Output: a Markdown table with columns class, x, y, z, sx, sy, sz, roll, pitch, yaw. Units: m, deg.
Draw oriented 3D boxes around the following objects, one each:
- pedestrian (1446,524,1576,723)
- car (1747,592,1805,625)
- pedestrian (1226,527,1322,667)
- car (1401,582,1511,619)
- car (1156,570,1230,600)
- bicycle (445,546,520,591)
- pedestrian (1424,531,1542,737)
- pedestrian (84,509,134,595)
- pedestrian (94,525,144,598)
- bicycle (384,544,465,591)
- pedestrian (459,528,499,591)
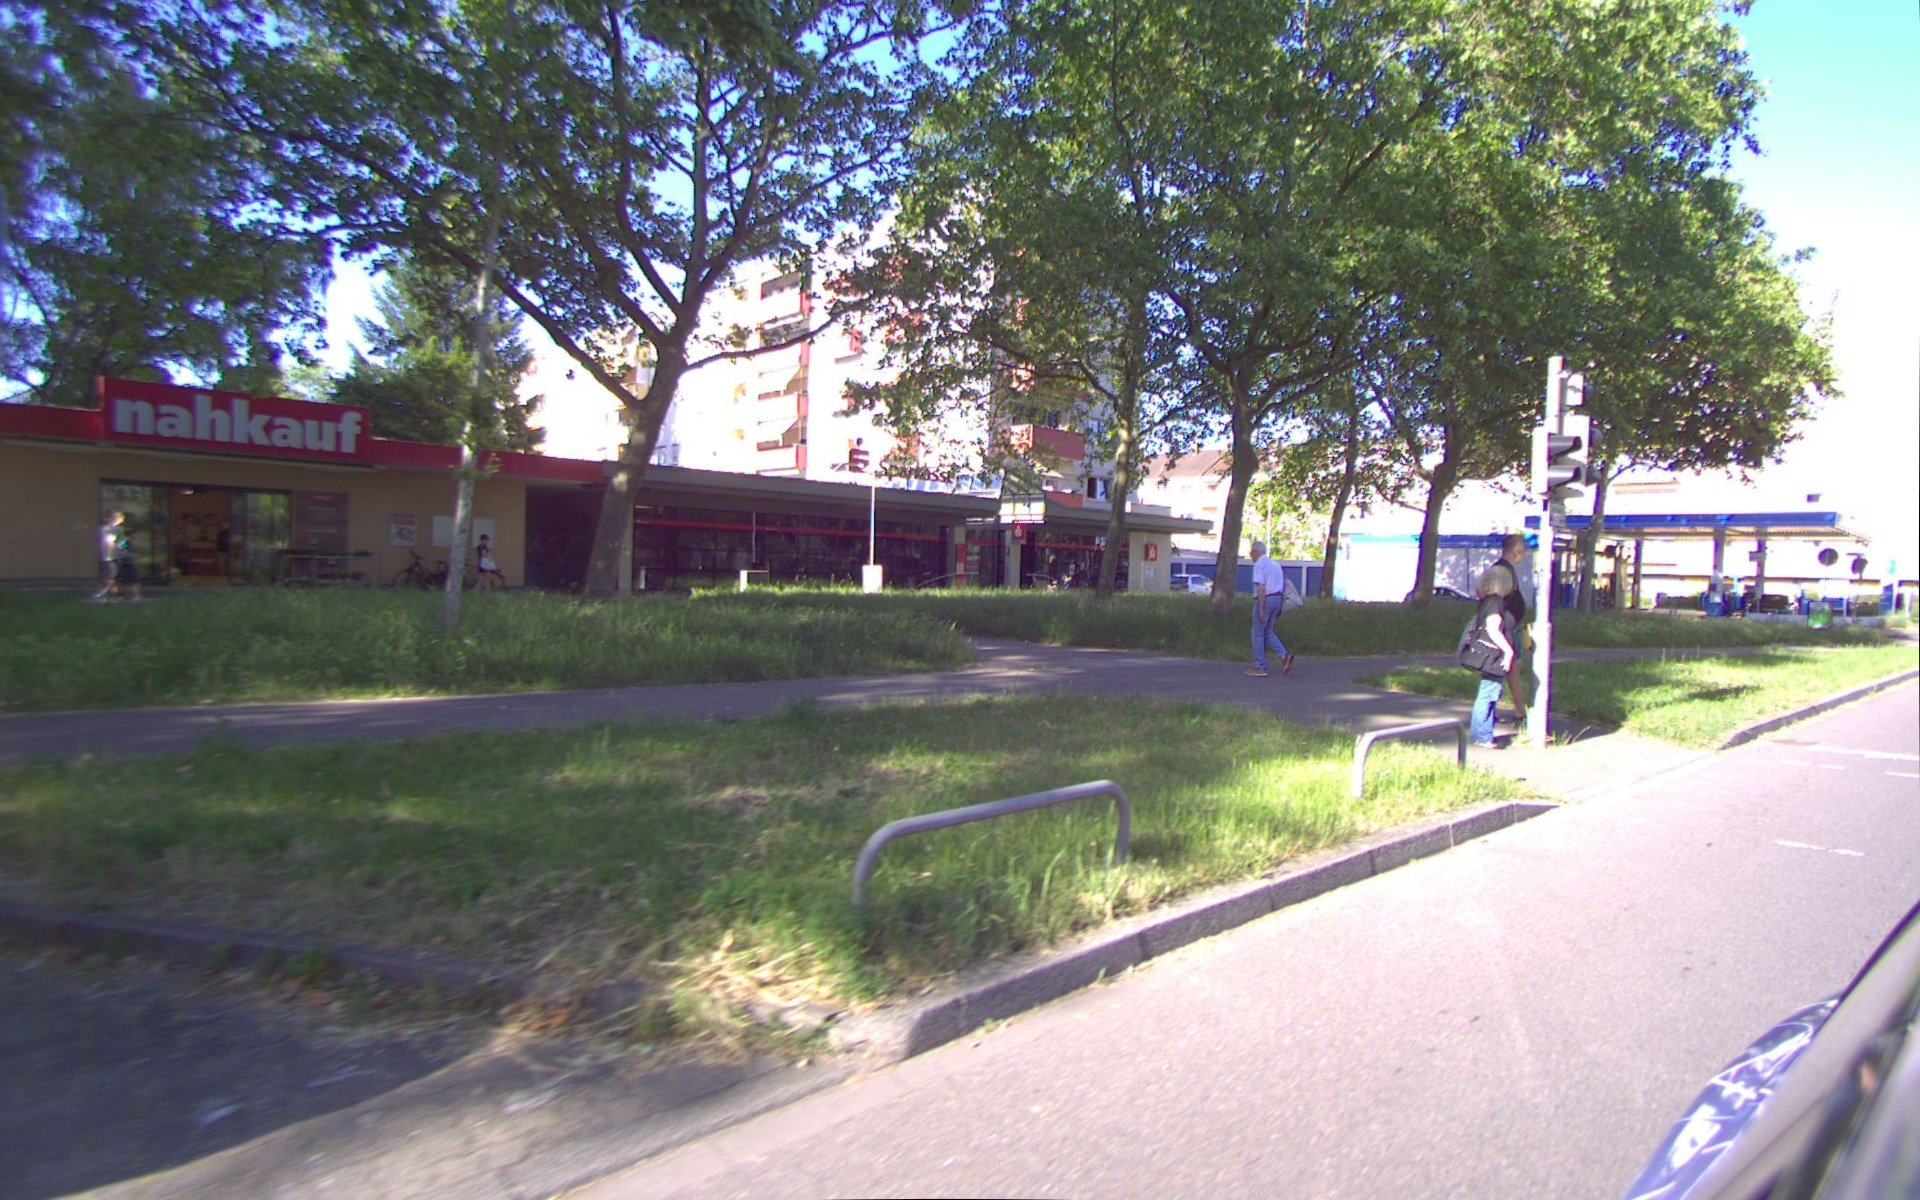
| class | x | y | z | sx | sy | sz | roll | pitch | yaw |
| --- | --- | --- | --- | --- | --- | --- | --- | --- | --- |
| pedestrian | 5.619 | 0.215 | 10.329 | 0.911 | 1.908 | 0.800 | 1 | 1 | -36 |
| car | 40.616 | 0.394 | 50.349 | 3.939 | 1.481 | 1.722 | 0 | 3 | -44 |
| pedestrian | 4.080 | -0.059 | 13.155 | 0.816 | 1.743 | 0.843 | 1 | 2 | -43 |
| car | 23.380 | 0.004 | 47.807 | 1.949 | 1.550 | 4.198 | 0 | 2 | -41 |
| car | 12.566 | -0.793 | 54.406 | 4.043 | 1.522 | 1.873 | 0 | 2 | -42 |
| bicycle | -13.207 | -0.860 | 28.037 | 1.811 | 1.194 | 0.600 | 1 | 1 | -19 |
| pedestrian | 4.614 | 0.270 | 8.980 | 0.703 | 1.726 | 0.651 | 3 | 3 | 16 |
| pedestrian | -17.575 | -0.983 | 20.897 | 0.495 | 1.721 | 0.704 | 3 | 1 | 44 |
| pedestrian | -17.009 | -0.775 | 20.469 | 0.531 | 1.448 | 0.704 | 3 | 1 | 44 |
| bicycle | -14.227 | -0.859 | 26.915 | 1.812 | 1.194 | 0.600 | 1 | 1 | -12 |
| pedestrian | -12.651 | -1.070 | 26.616 | 0.671 | 1.604 | 0.704 | 3 | 1 | 45 |
